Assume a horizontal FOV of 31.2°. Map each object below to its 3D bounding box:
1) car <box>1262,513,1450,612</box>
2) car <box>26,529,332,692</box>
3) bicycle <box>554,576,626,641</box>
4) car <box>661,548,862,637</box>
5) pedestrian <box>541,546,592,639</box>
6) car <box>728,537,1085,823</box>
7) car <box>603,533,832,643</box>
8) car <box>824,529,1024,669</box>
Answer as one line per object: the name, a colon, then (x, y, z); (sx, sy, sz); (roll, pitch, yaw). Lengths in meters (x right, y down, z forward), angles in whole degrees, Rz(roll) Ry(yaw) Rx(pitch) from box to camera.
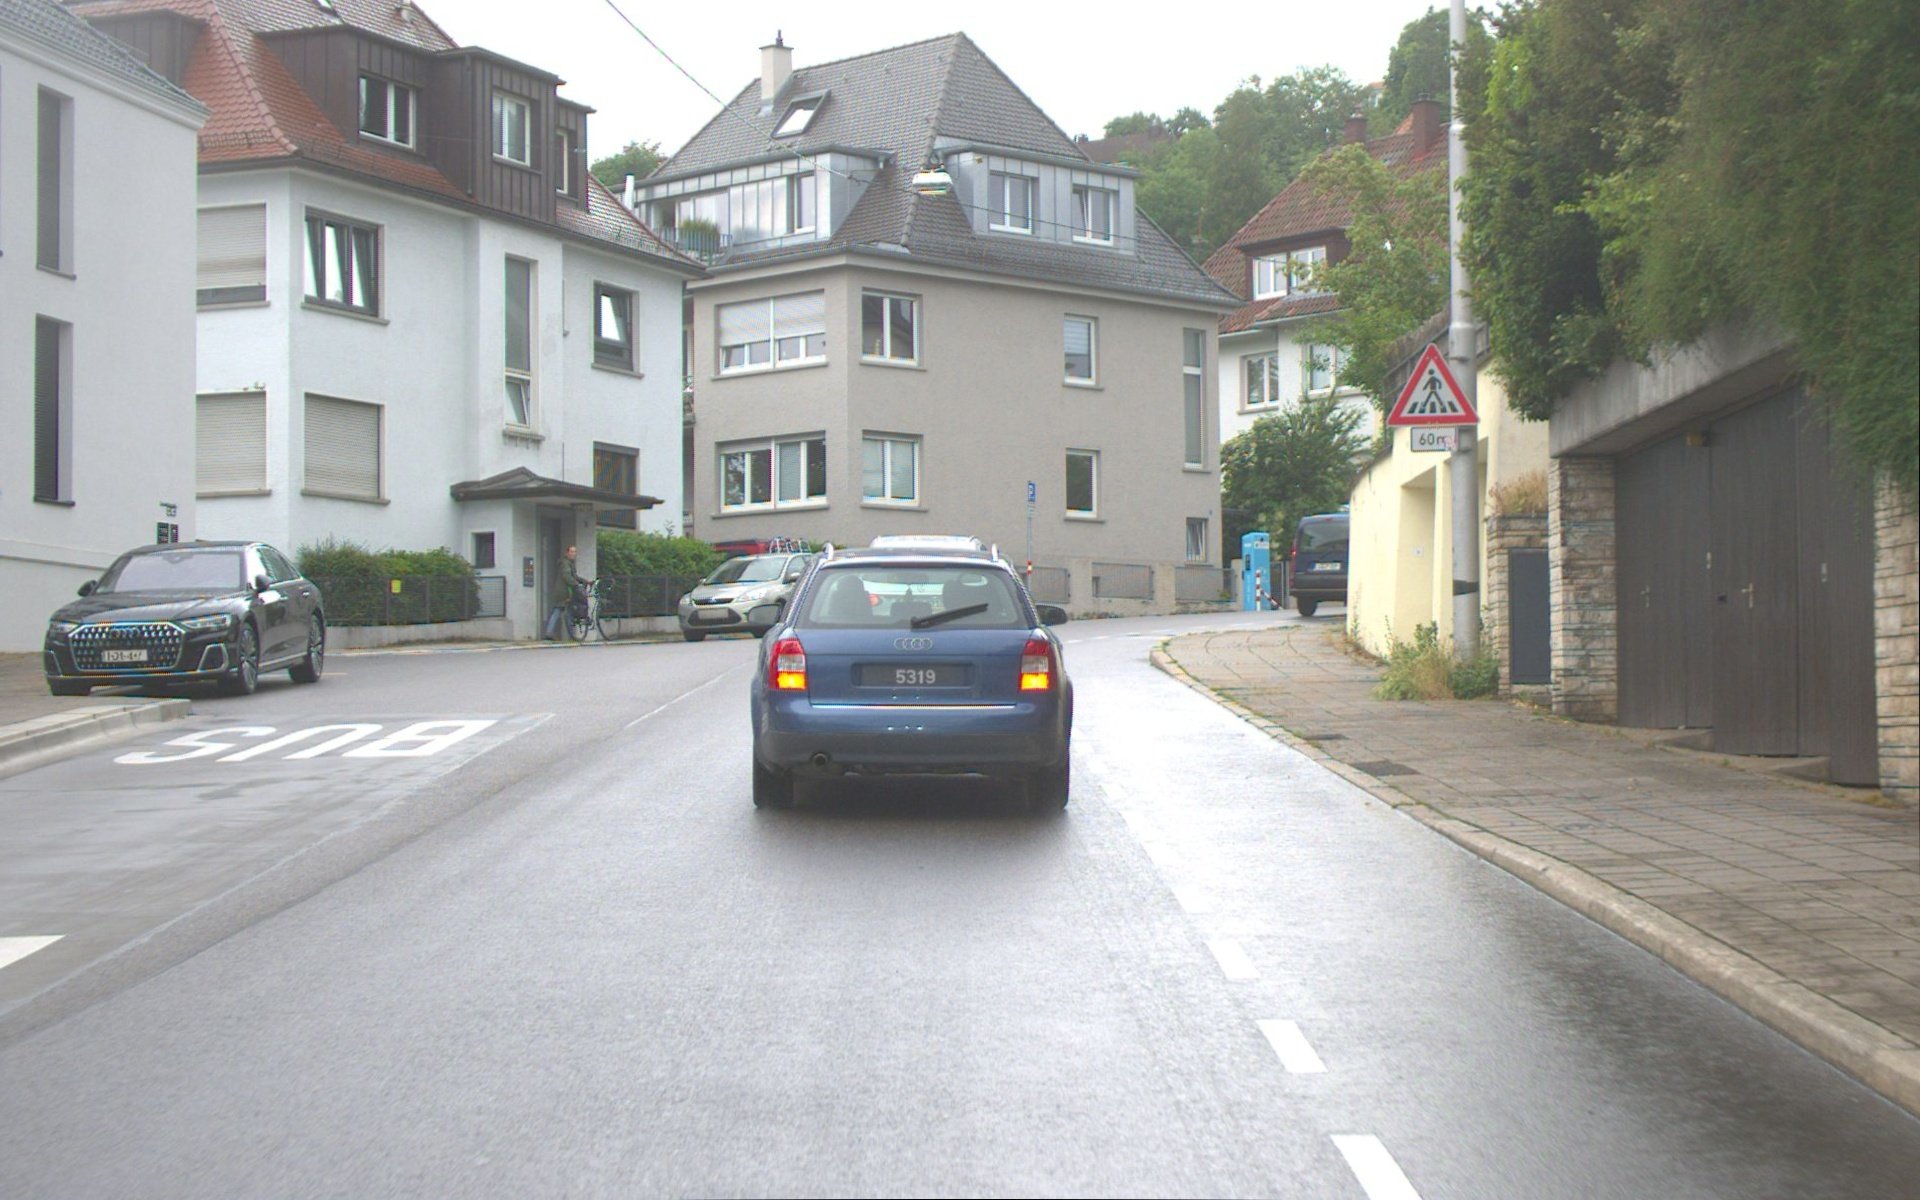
car: (7.295, -0.703, 62.975); (1.931, 1.700, 3.993); (-1, 1, 30)
car: (-7.720, 0.083, 34.466); (1.829, 1.480, 4.991); (-1, 0, 1)
bicycle: (-6.269, 0.142, 58.376); (0.456, 1.063, 1.920); (-1, 1, 18)
car: (-3.402, -0.148, 59.735); (1.838, 1.420, 4.225); (-2, 0, 22)
pedestrian: (-6.695, -0.133, 58.571); (0.493, 1.572, 0.947); (-1, 1, 18)
car: (-0.268, 0.375, 19.777); (1.811, 1.434, 4.081); (1, 1, 0)
car: (-4.845, -0.236, 68.684); (3.992, 1.817, 1.997); (-6, -2, 28)
car: (-0.437, 0.007, 36.268); (1.811, 1.356, 4.000); (1, -1, -5)
